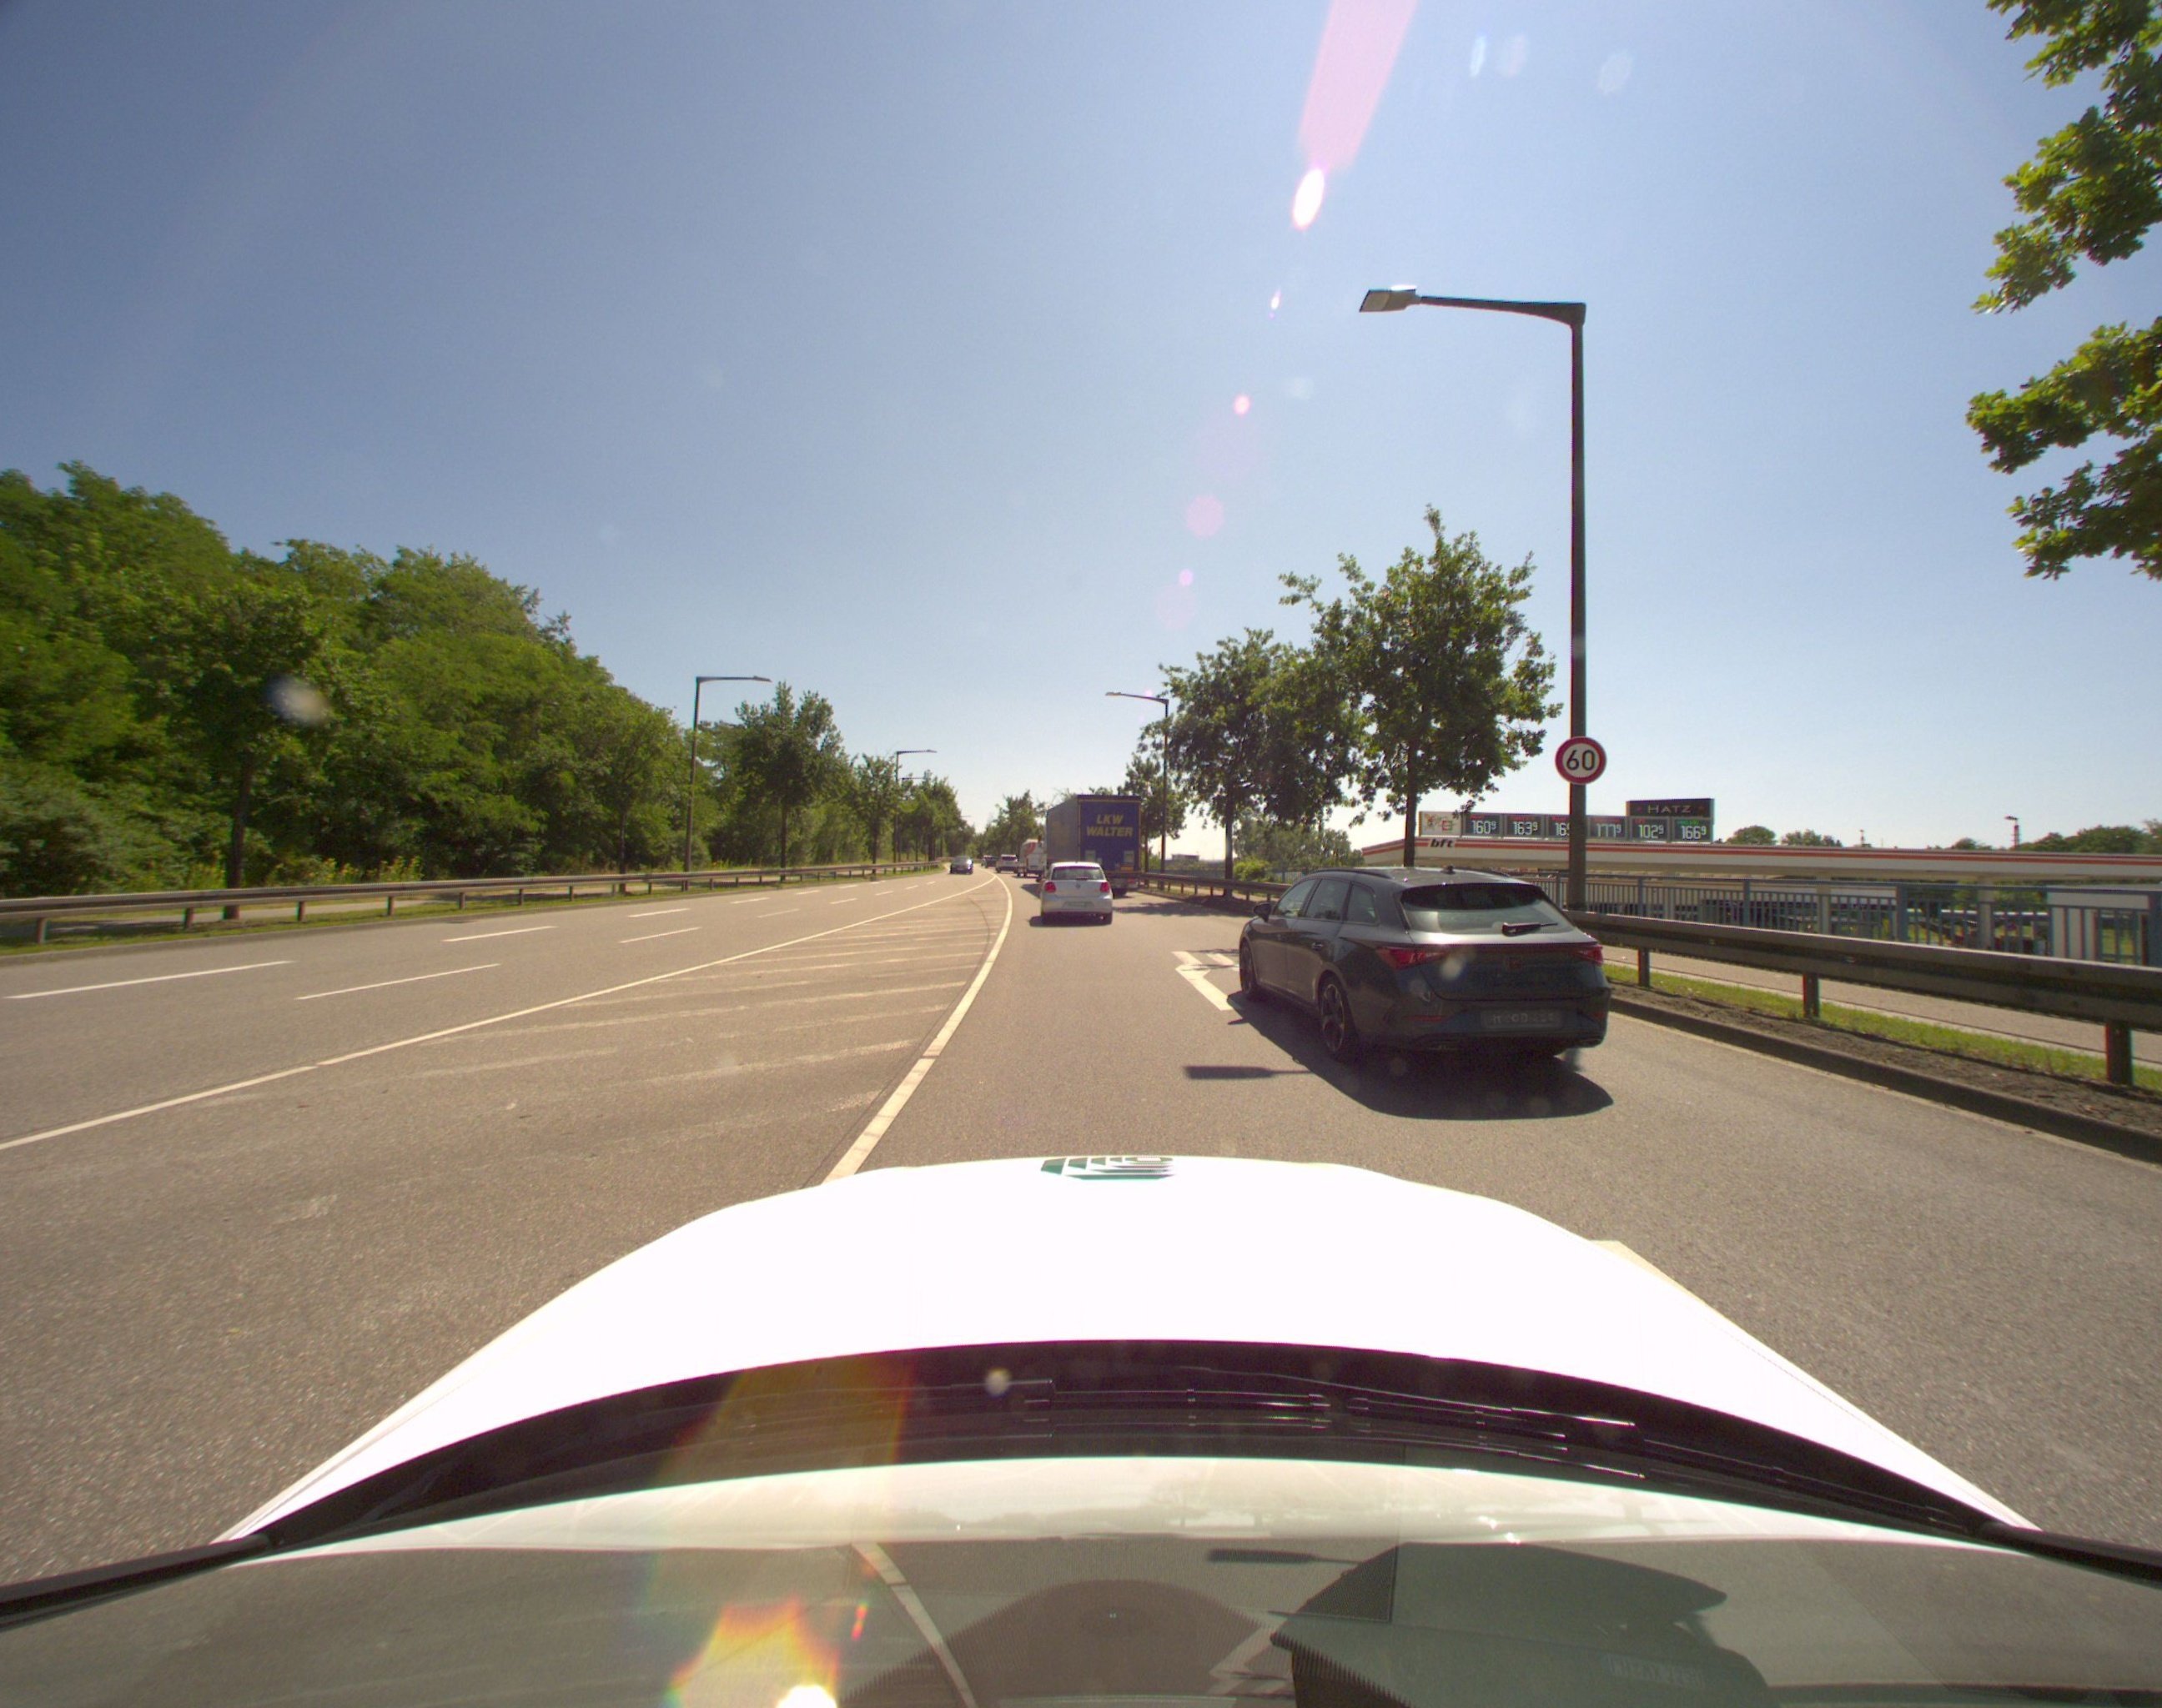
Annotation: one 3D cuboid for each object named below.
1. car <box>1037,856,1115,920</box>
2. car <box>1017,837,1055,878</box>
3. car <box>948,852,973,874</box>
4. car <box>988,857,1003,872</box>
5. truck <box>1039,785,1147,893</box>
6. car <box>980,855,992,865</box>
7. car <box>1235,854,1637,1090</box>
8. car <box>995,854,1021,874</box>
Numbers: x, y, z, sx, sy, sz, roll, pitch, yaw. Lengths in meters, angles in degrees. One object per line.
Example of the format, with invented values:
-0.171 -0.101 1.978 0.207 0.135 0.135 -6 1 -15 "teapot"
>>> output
-0.197 0.826 20.166 1.643 1.439 3.530 1 -2 -5 "car"
-3.474 0.278 61.631 2.175 2.900 6.337 1 0 -9 "car"
-9.647 0.701 65.362 1.676 1.671 3.749 0 1 -5 "car"
-10.233 1.278 96.886 1.720 1.726 3.989 1 -2 -7 "car"
0.074 -0.385 40.036 2.831 4.199 16.426 1 -1 -8 "truck"
-12.892 0.850 110.902 1.606 1.360 3.653 1 -1 -7 "car"
2.629 0.813 7.214 1.600 1.456 4.231 0 -2 -2 "car"
-6.640 0.924 73.745 1.903 1.718 4.208 1 -2 -10 "car"
